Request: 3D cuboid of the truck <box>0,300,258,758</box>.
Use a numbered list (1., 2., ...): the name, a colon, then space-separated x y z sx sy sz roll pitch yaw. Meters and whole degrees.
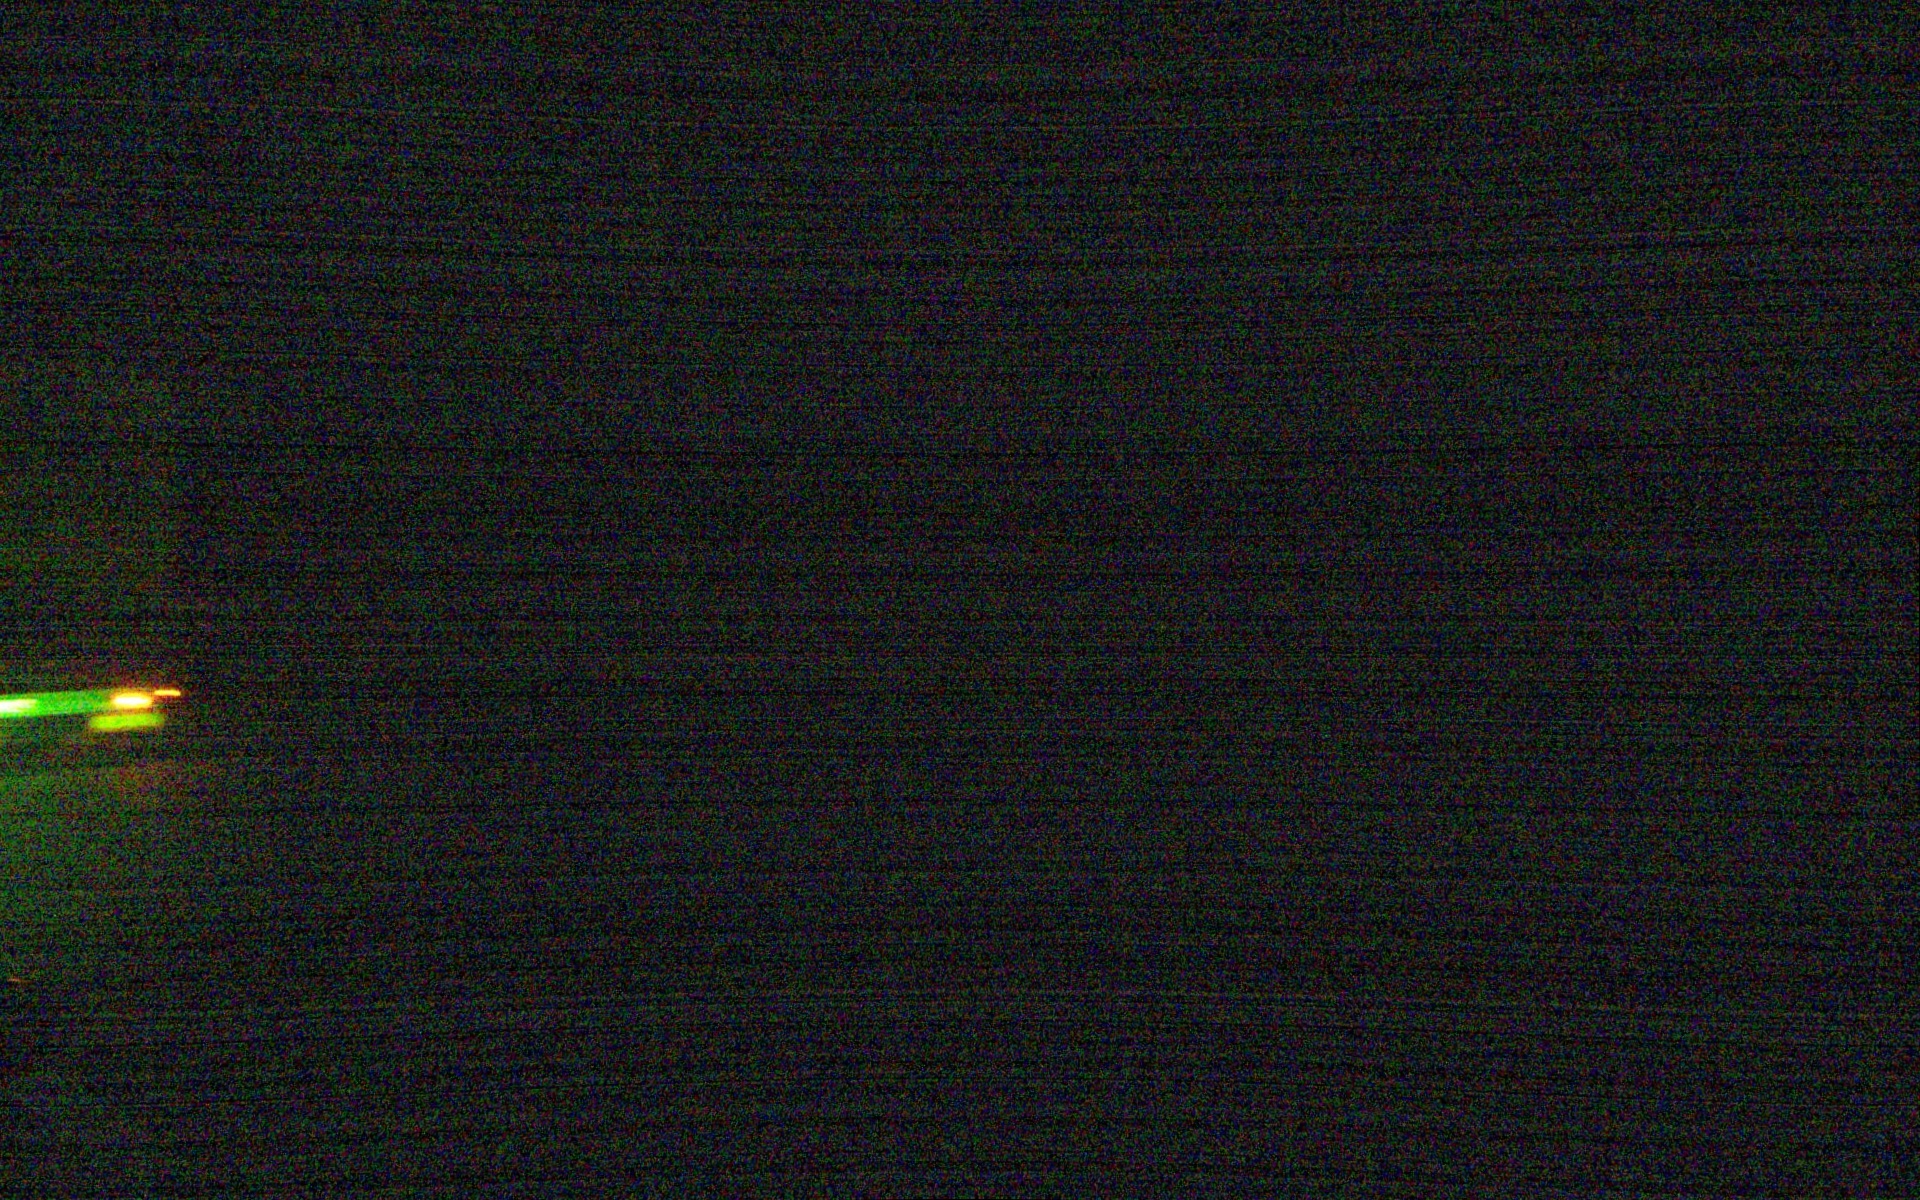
1. truck: -16.475 -0.489 14.219 18.435 4.187 3.478 -1 -2 31
